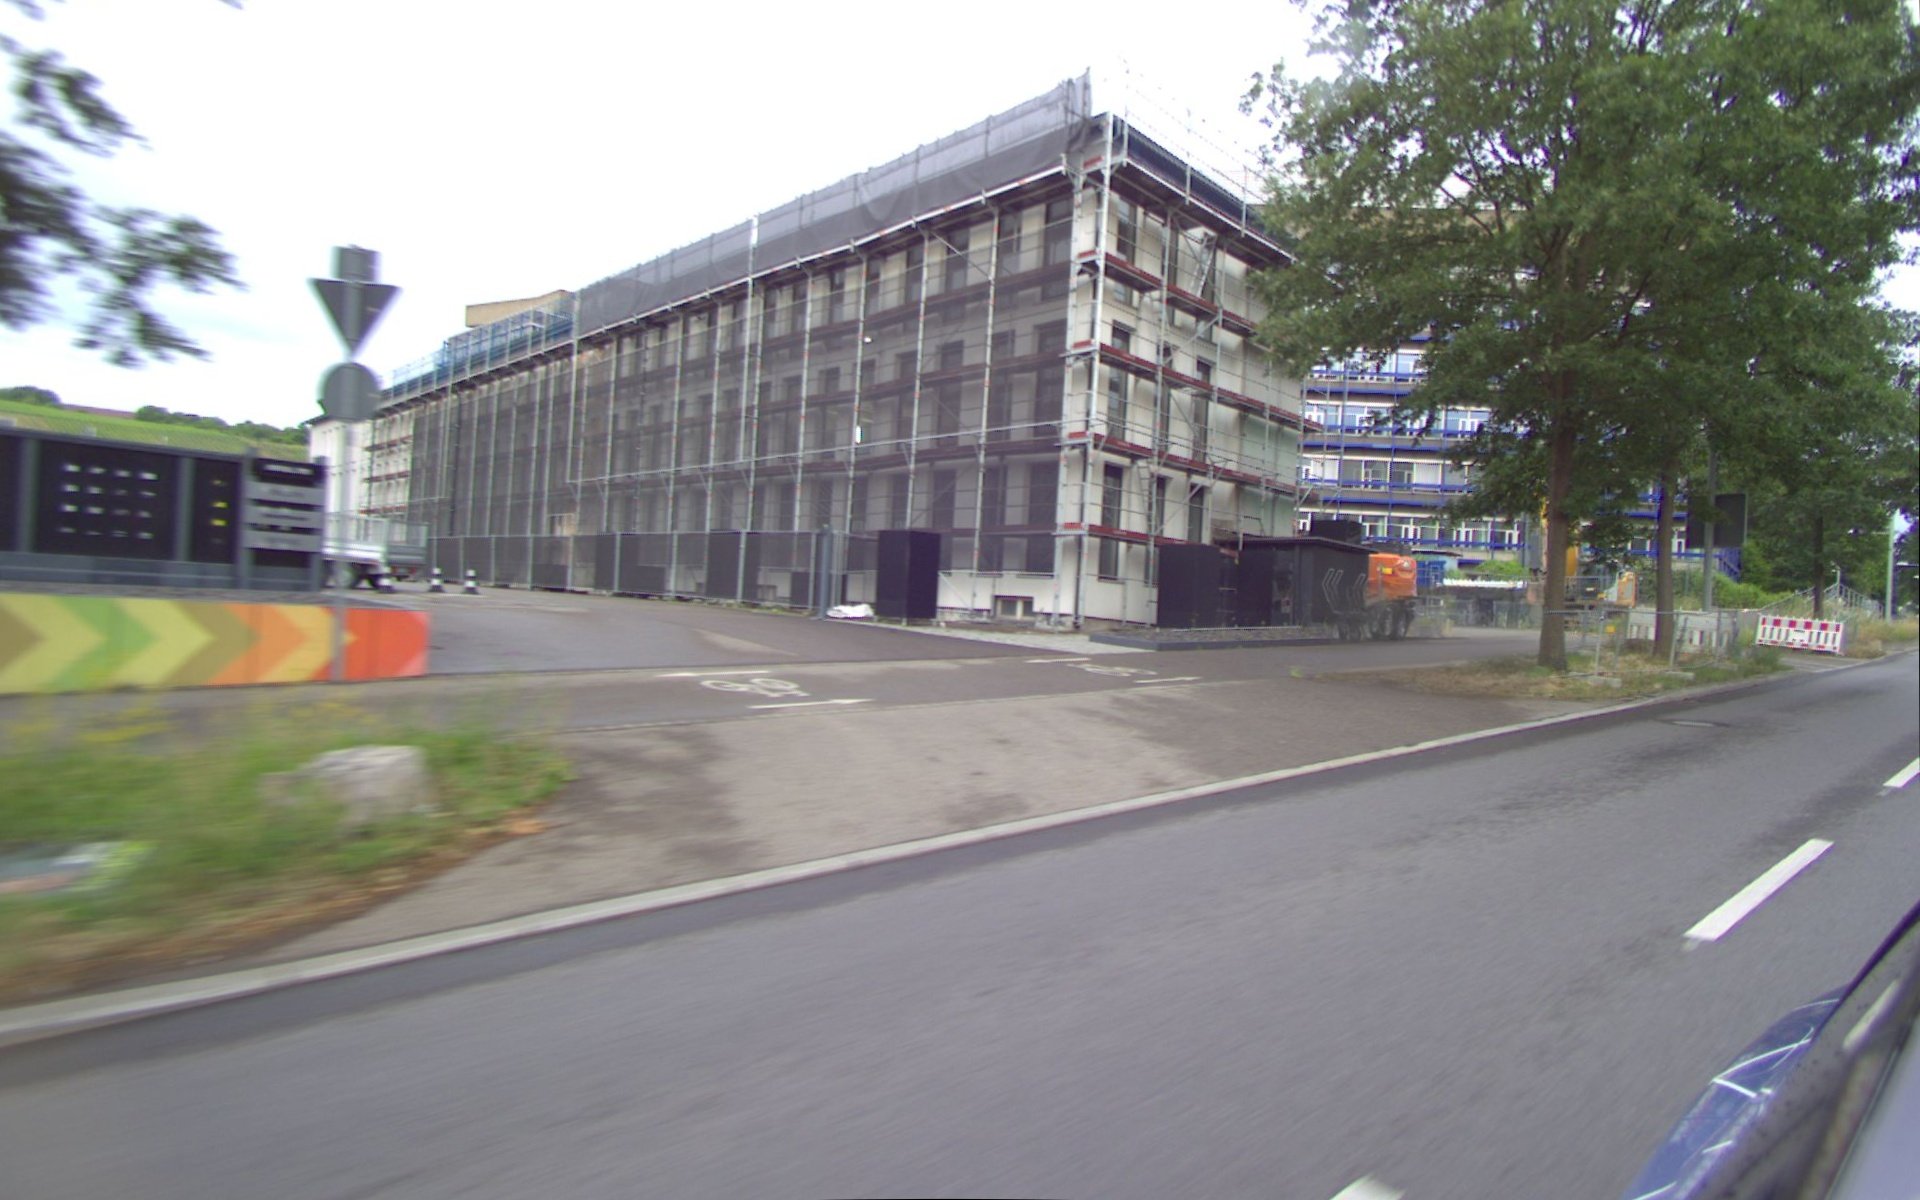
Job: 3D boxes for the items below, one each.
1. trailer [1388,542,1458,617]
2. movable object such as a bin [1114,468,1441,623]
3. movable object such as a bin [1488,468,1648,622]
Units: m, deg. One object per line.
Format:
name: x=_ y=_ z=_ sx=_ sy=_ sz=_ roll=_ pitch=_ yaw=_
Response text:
trailer: x=20.620 y=-0.866 z=45.332 sx=2.617 sy=3.081 sz=7.438 roll=0 pitch=0 yaw=24
movable object such as a bin: x=12.207 y=-2.111 z=40.574 sx=3.726 sy=5.326 sz=12.156 roll=0 pitch=2 yaw=-43
movable object such as a bin: x=25.399 y=-2.085 z=42.091 sx=8.612 sy=5.757 sz=3.295 roll=0 pitch=0 yaw=-42
